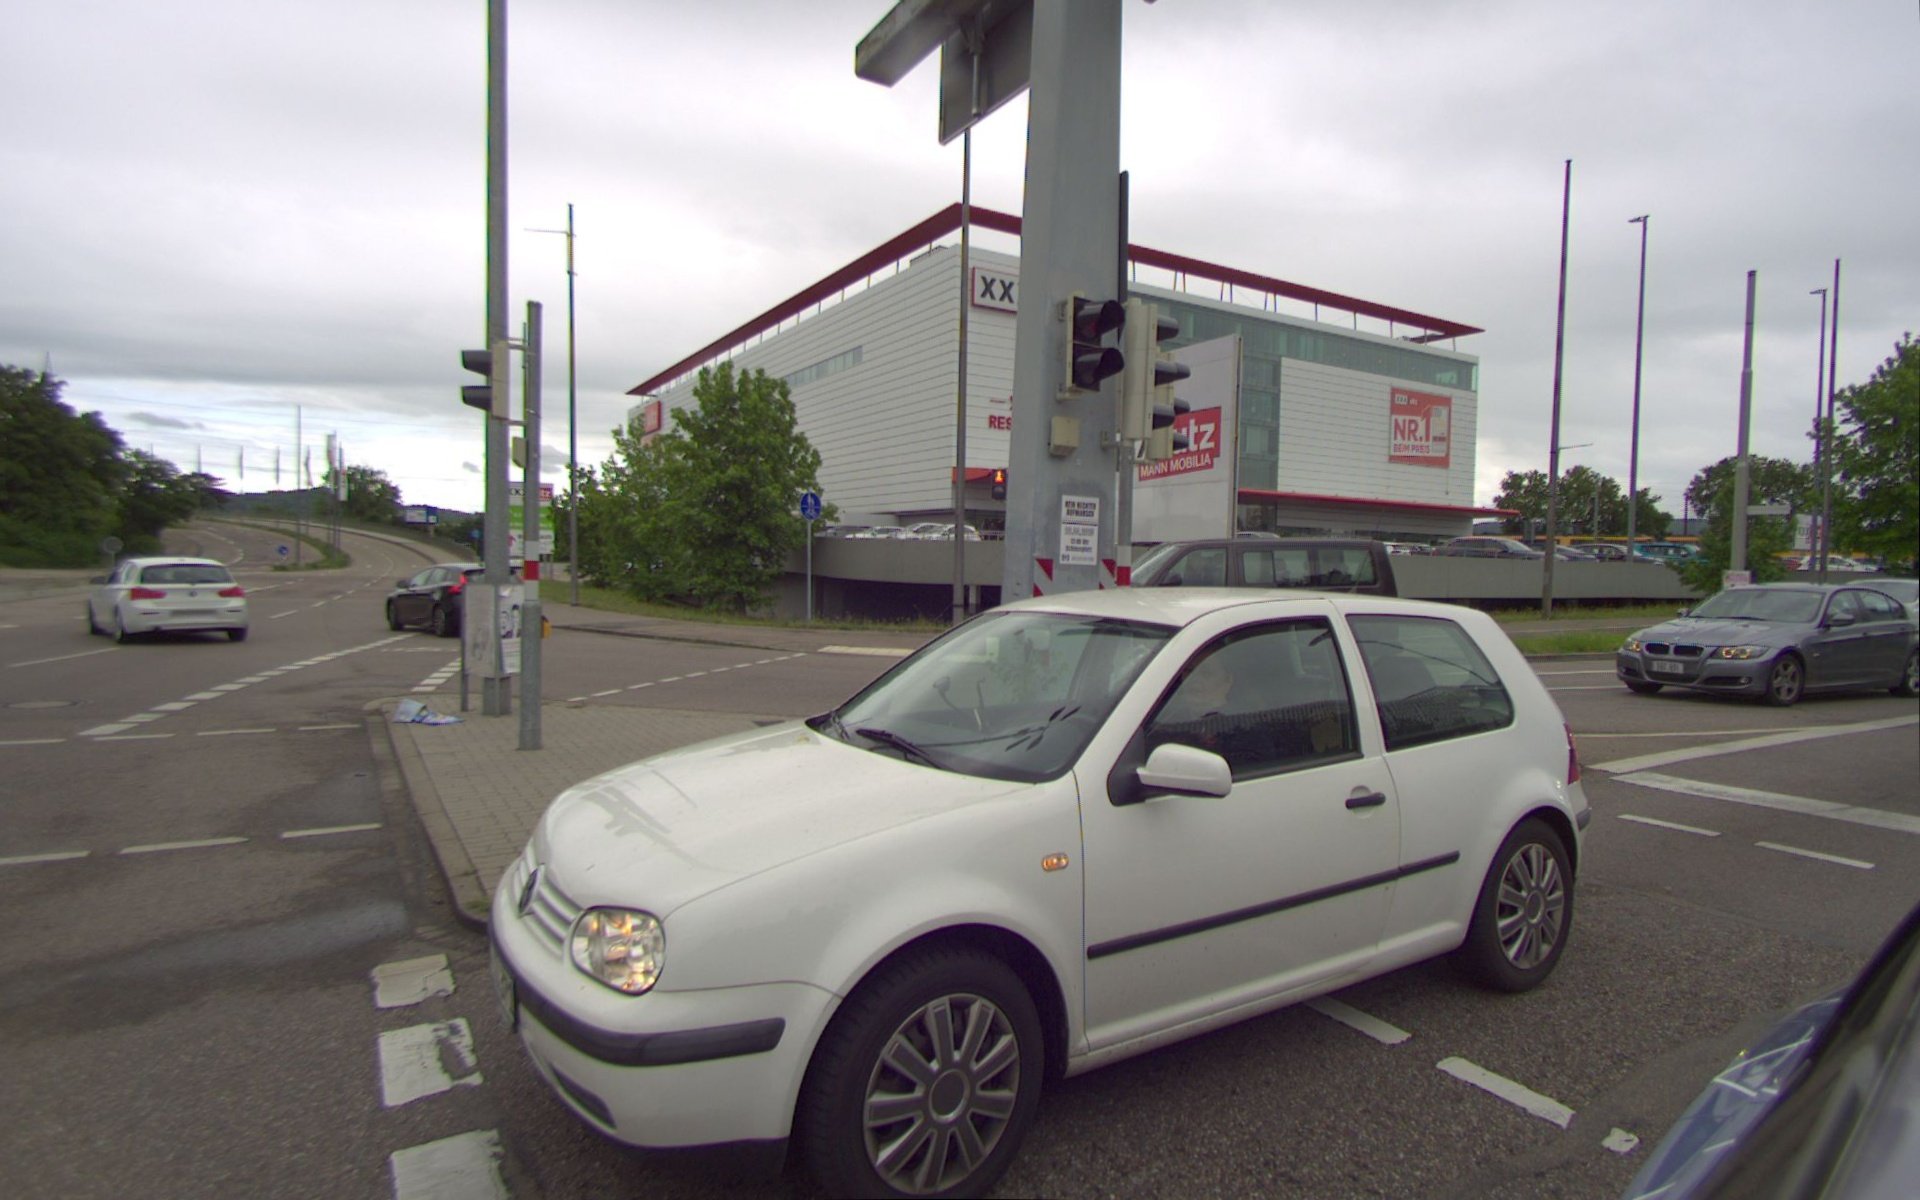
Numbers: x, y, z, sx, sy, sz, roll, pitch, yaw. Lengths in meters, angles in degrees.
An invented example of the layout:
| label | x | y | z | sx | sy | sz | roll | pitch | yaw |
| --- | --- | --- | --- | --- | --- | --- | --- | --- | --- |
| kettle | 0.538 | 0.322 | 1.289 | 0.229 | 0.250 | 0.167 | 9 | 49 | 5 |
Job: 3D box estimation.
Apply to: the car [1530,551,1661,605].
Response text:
| label | x | y | z | sx | sy | sz | roll | pitch | yaw |
| --- | --- | --- | --- | --- | --- | --- | --- | --- | --- |
| car | 25.576 | -0.906 | 40.854 | 1.961 | 2.038 | 4.003 | -2 | 2 | -31 |

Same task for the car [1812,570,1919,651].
| label | x | y | z | sx | sy | sz | roll | pitch | yaw |
| --- | --- | --- | --- | --- | --- | --- | --- | --- | --- |
| car | 18.520 | 0.142 | 19.812 | 3.850 | 1.389 | 1.696 | -2 | 2 | -32 |

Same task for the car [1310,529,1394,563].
| label | x | y | z | sx | sy | sz | roll | pitch | yaw |
| --- | --- | --- | --- | --- | --- | --- | --- | --- | --- |
| car | 21.773 | -2.984 | 56.300 | 1.961 | 1.760 | 4.003 | -2 | 2 | -32 |

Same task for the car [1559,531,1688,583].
| label | x | y | z | sx | sy | sz | roll | pitch | yaw |
| --- | --- | --- | --- | --- | --- | --- | --- | --- | --- |
| car | 27.447 | -1.740 | 41.973 | 1.961 | 2.038 | 4.003 | -2 | 2 | -31 |

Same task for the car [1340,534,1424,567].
| label | x | y | z | sx | sy | sz | roll | pitch | yaw |
| --- | --- | --- | --- | --- | --- | --- | --- | --- | --- |
| car | 24.015 | -2.808 | 57.667 | 1.961 | 1.760 | 4.003 | -2 | 2 | -32 |

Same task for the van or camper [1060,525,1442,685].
| label | x | y | z | sx | sy | sz | roll | pitch | yaw |
| --- | --- | --- | --- | --- | --- | --- | --- | --- | --- |
| van or camper | 4.091 | 0.017 | 14.753 | 4.844 | 2.038 | 2.167 | -1 | 1 | -6 |

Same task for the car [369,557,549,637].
| label | x | y | z | sx | sy | sz | roll | pitch | yaw |
| --- | --- | --- | --- | --- | --- | --- | --- | --- | --- |
| car | -10.249 | -0.142 | 20.596 | 4.164 | 1.467 | 1.877 | 2 | 3 | 42 |

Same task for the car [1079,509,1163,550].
| label | x | y | z | sx | sy | sz | roll | pitch | yaw |
| --- | --- | --- | --- | --- | --- | --- | --- | --- | --- |
| car | 8.669 | -3.769 | 54.398 | 4.098 | 2.038 | 2.002 | -2 | 2 | -29 |

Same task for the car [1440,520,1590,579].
| label | x | y | z | sx | sy | sz | roll | pitch | yaw |
| --- | --- | --- | --- | --- | --- | --- | --- | --- | --- |
| car | 20.541 | -1.845 | 37.657 | 1.961 | 2.038 | 4.535 | -2 | 2 | -32 |

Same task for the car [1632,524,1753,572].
| label | x | y | z | sx | sy | sz | roll | pitch | yaw |
| --- | --- | --- | --- | --- | --- | --- | --- | --- | --- |
| car | 33.132 | -2.321 | 45.847 | 1.961 | 2.038 | 4.003 | -2 | 2 | -31 |

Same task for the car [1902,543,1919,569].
| label | x | y | z | sx | sy | sz | roll | pitch | yaw |
| --- | --- | --- | --- | --- | --- | --- | --- | --- | --- |
| car | 62.137 | -2.803 | 63.555 | 1.761 | 1.585 | 4.005 | -2 | 2 | -29 |

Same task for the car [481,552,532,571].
| label | x | y | z | sx | sy | sz | roll | pitch | yaw |
| --- | --- | --- | --- | --- | --- | --- | --- | --- | --- |
| car | -40.921 | -3.465 | 91.353 | 4.111 | 1.630 | 1.725 | -2 | 1 | -25 |

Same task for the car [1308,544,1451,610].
| label | x | y | z | sx | sy | sz | roll | pitch | yaw |
| --- | --- | --- | --- | --- | --- | --- | --- | --- | --- |
| car | 13.844 | -0.776 | 33.615 | 1.961 | 2.038 | 4.004 | -2 | 2 | -30 |

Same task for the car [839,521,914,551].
| label | x | y | z | sx | sy | sz | roll | pitch | yaw |
| --- | --- | --- | --- | --- | --- | --- | --- | --- | --- |
| car | -5.019 | -3.848 | 60.946 | 4.175 | 1.696 | 1.779 | -2 | 2 | -30 |

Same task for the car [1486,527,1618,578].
| label | x | y | z | sx | sy | sz | roll | pitch | yaw |
| --- | --- | --- | --- | --- | --- | --- | --- | --- | --- |
| car | 22.945 | -1.807 | 39.345 | 1.961 | 1.871 | 4.003 | -2 | 2 | -32 |

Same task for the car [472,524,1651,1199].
| label | x | y | z | sx | sy | sz | roll | pitch | yaw |
| --- | --- | --- | --- | --- | --- | --- | --- | --- | --- |
| car | 0.519 | 0.529 | 3.661 | 3.927 | 1.496 | 1.840 | -2 | 2 | -32 |

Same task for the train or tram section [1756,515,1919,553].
| label | x | y | z | sx | sy | sz | roll | pitch | yaw |
| --- | --- | --- | --- | --- | --- | --- | --- | --- | --- |
| train or tram section | 124.847 | -9.082 | 140.028 | 3.562 | 4.897 | 23.304 | -2 | 3 | -32 |

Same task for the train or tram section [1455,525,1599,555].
| label | x | y | z | sx | sy | sz | roll | pitch | yaw |
| --- | --- | --- | --- | --- | --- | --- | --- | --- | --- |
| train or tram section | 99.770 | -10.451 | 179.199 | 3.562 | 4.897 | 23.304 | -2 | 3 | -32 |

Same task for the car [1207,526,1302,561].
| label | x | y | z | sx | sy | sz | roll | pitch | yaw |
| --- | --- | --- | --- | --- | --- | --- | --- | --- | --- |
| car | 13.447 | -2.564 | 46.401 | 1.834 | 1.455 | 3.996 | -2 | 2 | -33 |

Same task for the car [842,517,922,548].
| label | x | y | z | sx | sy | sz | roll | pitch | yaw |
| --- | --- | --- | --- | --- | --- | --- | --- | --- | --- |
| car | -4.468 | -3.844 | 57.851 | 4.175 | 1.696 | 1.779 | -2 | 2 | -30 |

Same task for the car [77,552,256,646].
| label | x | y | z | sx | sy | sz | roll | pitch | yaw |
| --- | --- | --- | --- | --- | --- | --- | --- | --- | --- |
| car | -14.089 | -0.091 | 17.886 | 4.182 | 1.428 | 1.807 | 3 | 2 | 42 |

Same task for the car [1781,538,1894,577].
| label | x | y | z | sx | sy | sz | roll | pitch | yaw |
| --- | --- | --- | --- | --- | --- | --- | --- | --- | --- |
| car | 48.070 | -2.311 | 55.528 | 1.961 | 2.038 | 4.330 | -2 | 2 | -31 |

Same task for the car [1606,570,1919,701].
| label | x | y | z | sx | sy | sz | roll | pitch | yaw |
| --- | --- | --- | --- | --- | --- | --- | --- | --- | --- |
| car | 10.646 | 0.367 | 12.757 | 4.775 | 1.429 | 1.821 | 0 | 1 | -23 |

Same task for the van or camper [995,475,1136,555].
| label | x | y | z | sx | sy | sz | roll | pitch | yaw |
| --- | --- | --- | --- | --- | --- | --- | --- | --- | --- |
| van or camper | 4.645 | -3.767 | 46.261 | 2.661 | 3.174 | 7.245 | -2 | 2 | -29 |

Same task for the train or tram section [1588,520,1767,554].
| label | x | y | z | sx | sy | sz | roll | pitch | yaw |
| --- | --- | --- | --- | --- | --- | --- | --- | --- | --- |
| train or tram section | 112.364 | -9.767 | 159.589 | 3.562 | 4.897 | 23.304 | -2 | 3 | -32 |
